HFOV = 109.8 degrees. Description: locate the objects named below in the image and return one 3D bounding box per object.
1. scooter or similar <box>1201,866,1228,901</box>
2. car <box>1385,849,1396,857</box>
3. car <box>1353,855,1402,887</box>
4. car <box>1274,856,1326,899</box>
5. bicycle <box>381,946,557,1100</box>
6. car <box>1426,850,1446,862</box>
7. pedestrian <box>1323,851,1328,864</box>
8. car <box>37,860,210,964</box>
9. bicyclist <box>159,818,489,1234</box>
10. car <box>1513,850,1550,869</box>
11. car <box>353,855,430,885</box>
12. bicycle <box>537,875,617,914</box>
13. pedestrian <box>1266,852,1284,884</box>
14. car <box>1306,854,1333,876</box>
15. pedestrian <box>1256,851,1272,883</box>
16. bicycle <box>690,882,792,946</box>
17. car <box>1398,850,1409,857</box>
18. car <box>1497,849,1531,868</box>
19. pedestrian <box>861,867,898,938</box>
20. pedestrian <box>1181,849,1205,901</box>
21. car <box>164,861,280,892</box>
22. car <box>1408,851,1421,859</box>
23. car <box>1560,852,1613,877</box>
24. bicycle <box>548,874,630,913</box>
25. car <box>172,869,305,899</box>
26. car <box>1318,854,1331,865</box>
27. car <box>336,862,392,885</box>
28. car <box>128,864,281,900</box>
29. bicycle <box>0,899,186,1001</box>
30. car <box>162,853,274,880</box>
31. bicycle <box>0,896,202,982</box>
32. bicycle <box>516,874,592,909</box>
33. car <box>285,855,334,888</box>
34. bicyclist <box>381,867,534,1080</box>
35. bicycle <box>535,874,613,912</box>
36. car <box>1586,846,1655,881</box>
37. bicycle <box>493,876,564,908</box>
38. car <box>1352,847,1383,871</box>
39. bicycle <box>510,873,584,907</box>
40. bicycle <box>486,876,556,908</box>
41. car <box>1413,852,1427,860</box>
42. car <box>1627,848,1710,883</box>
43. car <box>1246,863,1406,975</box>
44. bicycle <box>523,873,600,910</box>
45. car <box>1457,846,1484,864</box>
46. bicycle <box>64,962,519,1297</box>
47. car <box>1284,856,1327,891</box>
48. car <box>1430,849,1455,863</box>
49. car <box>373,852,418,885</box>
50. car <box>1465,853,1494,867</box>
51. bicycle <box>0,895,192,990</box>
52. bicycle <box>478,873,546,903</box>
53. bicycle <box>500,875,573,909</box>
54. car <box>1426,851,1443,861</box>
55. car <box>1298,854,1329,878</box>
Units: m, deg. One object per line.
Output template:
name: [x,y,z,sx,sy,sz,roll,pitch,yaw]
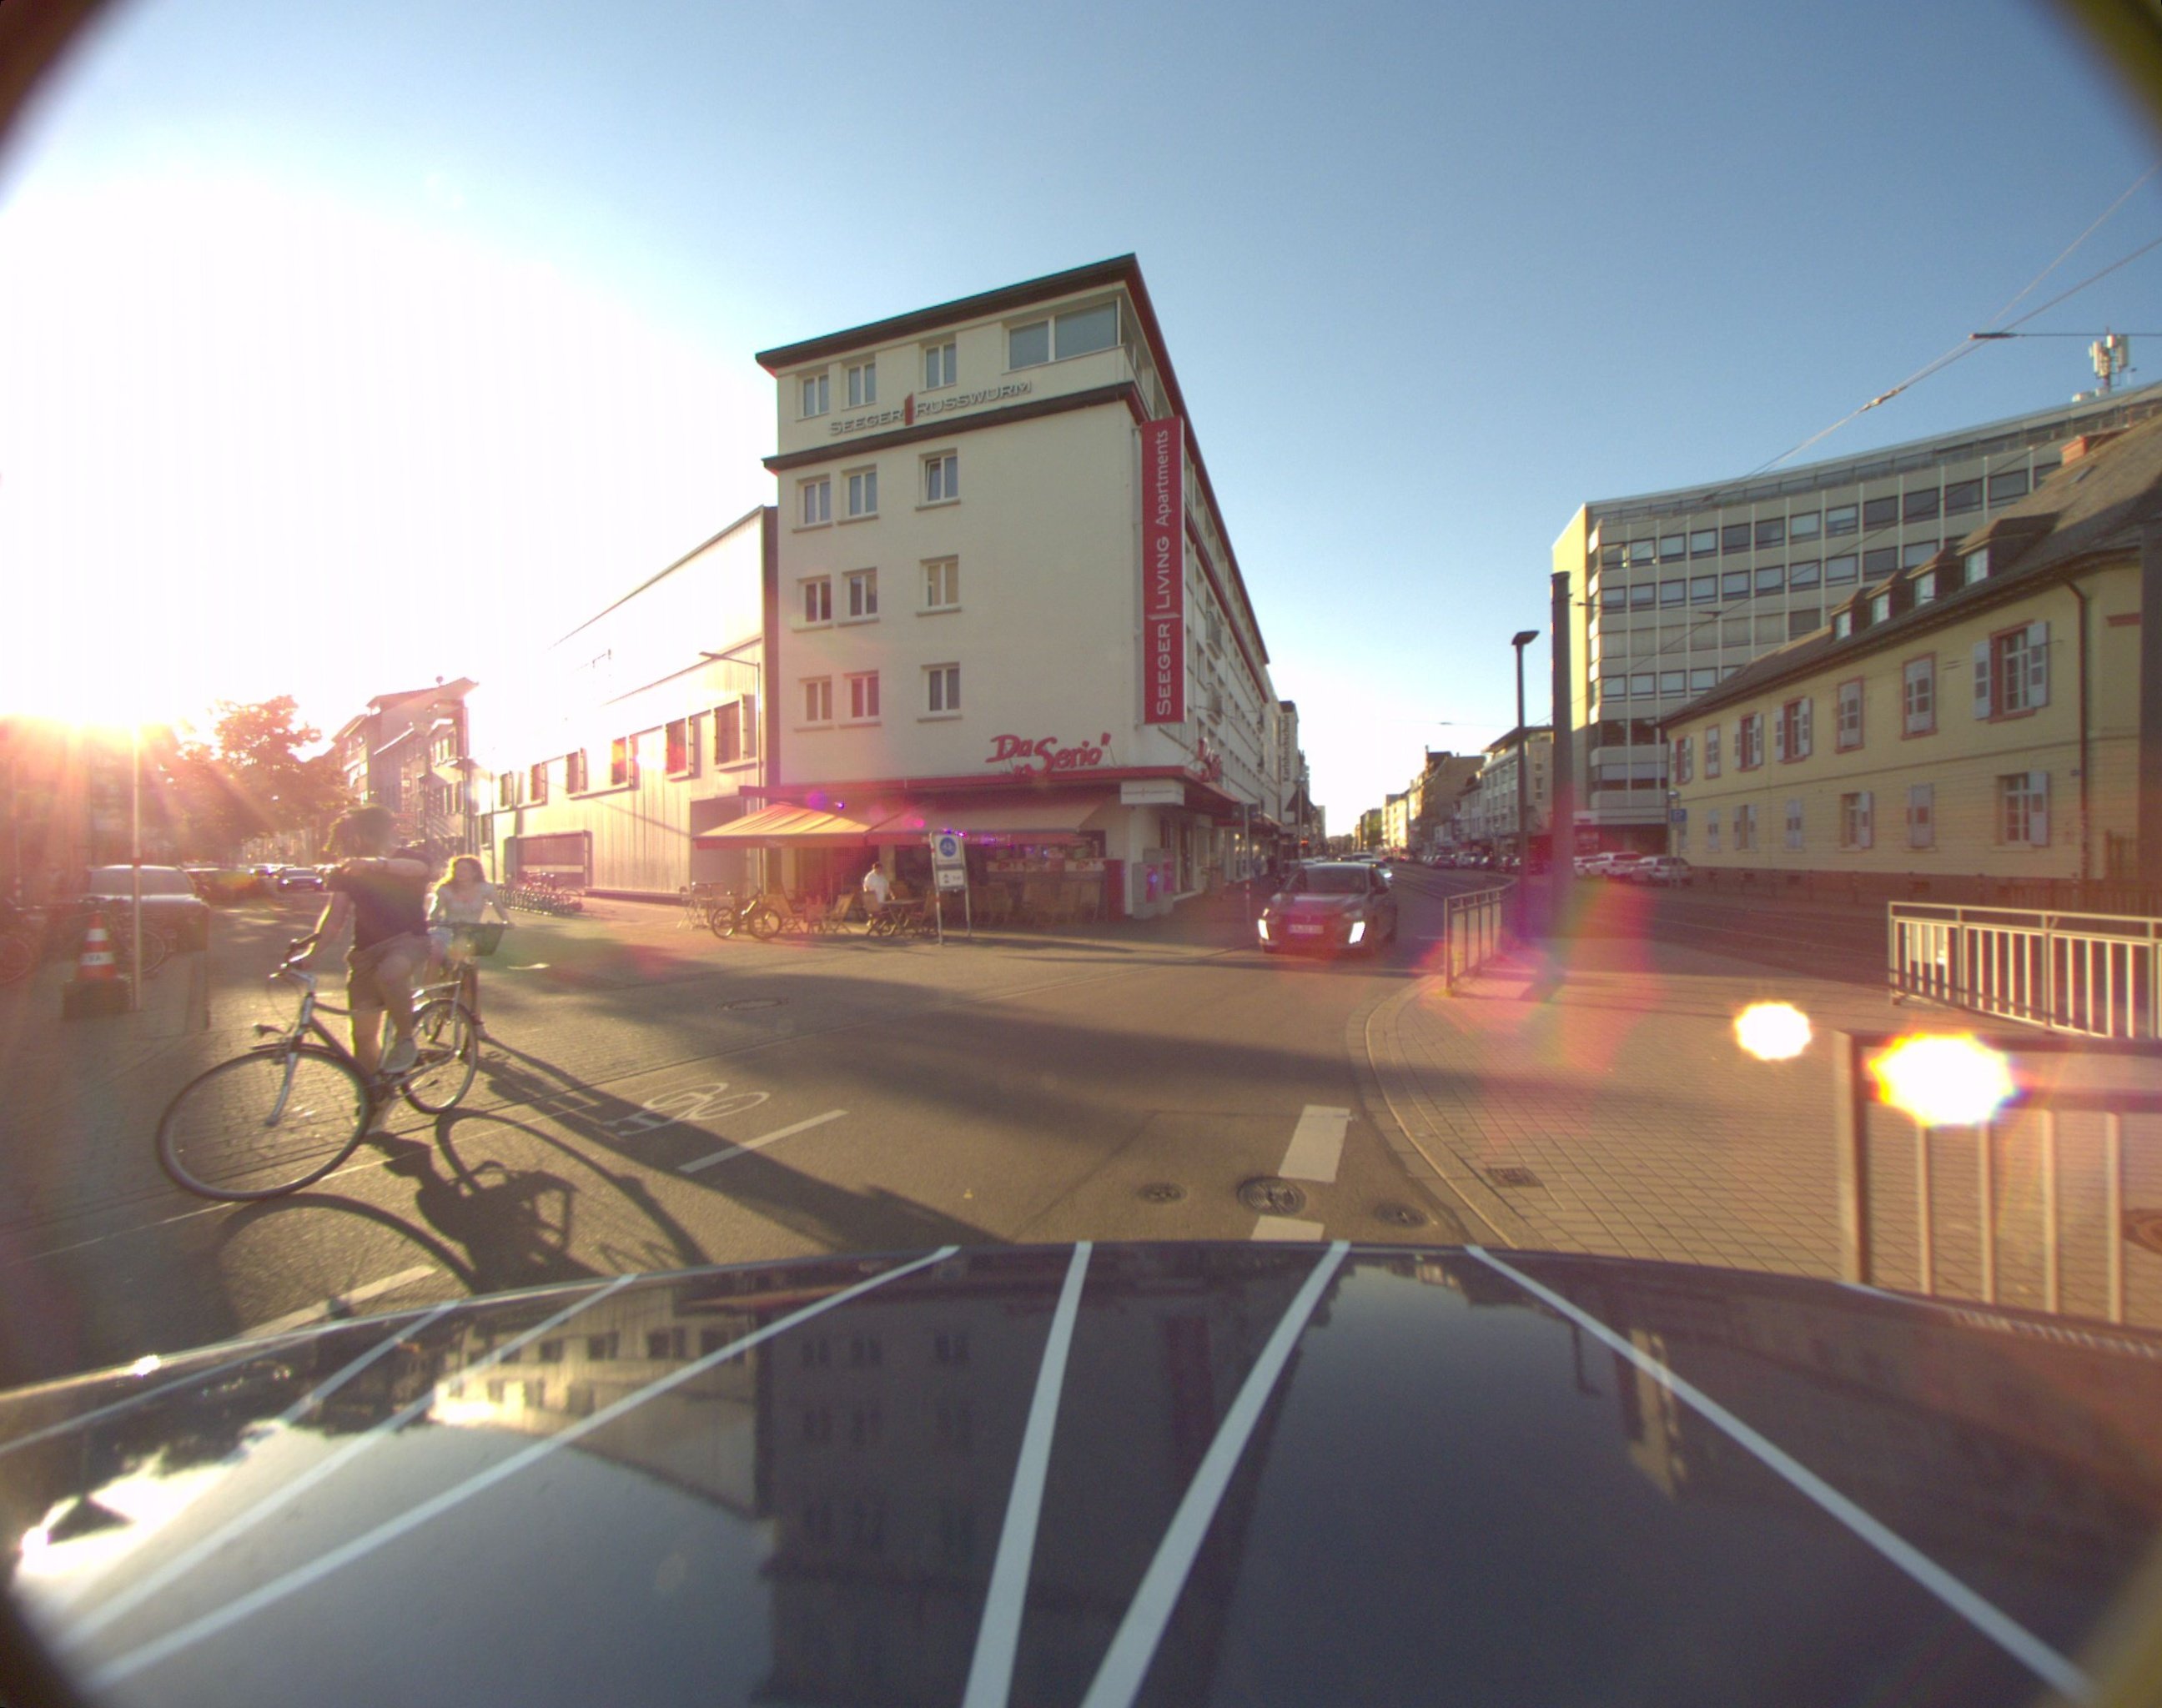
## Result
scooter or similar: [4.750,1.051,27.096,0.357,1.195,1.247,-1,0,-19]
car: [65.295,-0.234,160.268,1.996,1.543,4.006,0,0,19]
car: [14.780,0.808,38.060,1.996,1.450,4.005,0,0,17]
car: [8.787,0.863,30.218,1.737,1.503,4.692,1,1,19]
bicycle: [-5.240,1.334,6.454,2.007,0.876,0.842,0,1,42]
car: [43.974,0.227,94.175,1.808,1.503,4.041,0,0,20]
pedestrian: [32.142,0.399,100.057,0.605,1.717,0.647,0,1,18]
car: [-18.436,0.982,14.592,3.988,1.739,1.898,0,-1,36]
bicyclist: [-3.971,0.790,4.135,0.841,1.906,1.113,-1,0,-19]
car: [36.439,0.430,61.542,1.687,1.503,4.221,-1,0,19]
car: [-50.154,1.181,55.312,1.994,2.002,4.008,-2,0,44]
bicycle: [-16.750,1.317,25.301,0.702,1.213,2.118,0,-1,41]
pedestrian: [10.304,0.731,40.324,0.827,1.708,0.844,1,1,19]
car: [17.416,0.746,55.600,1.792,1.503,4.718,1,1,17]
pedestrian: [9.954,0.685,41.278,0.729,1.731,0.864,1,1,19]
bicycle: [-7.309,1.254,16.311,2.108,1.280,0.705,0,1,21]
car: [73.524,-0.178,173.220,1.996,1.543,4.005,0,0,18]
car: [37.984,0.382,66.686,1.687,1.503,4.221,5,2,19]
pedestrian: [-4.533,1.076,17.107,0.571,1.532,0.575,0,1,19]
pedestrian: [3.850,0.703,26.147,0.605,1.750,0.526,-1,1,-25]
car: [-50.242,1.282,44.554,1.996,1.700,4.005,0,0,15]
car: [67.129,0.258,152.804,1.996,1.543,4.212,0,0,18]
car: [32.011,0.608,48.210,1.814,1.503,4.439,0,0,20]
bicycle: [-16.025,1.270,24.793,0.702,1.213,2.118,0,-1,41]
car: [-42.302,1.470,38.291,1.996,1.379,4.006,0,0,19]
car: [34.653,0.723,107.943,1.679,1.534,3.891,1,1,19]
car: [-64.094,1.740,67.974,1.604,1.833,3.471,-2,0,41]
car: [-38.483,1.189,33.534,1.998,1.422,4.001,0,0,5]
bicycle: [-13.547,1.251,10.103,0.702,1.213,2.118,0,-1,41]
car: [-52.435,0.739,46.258,1.996,1.597,4.005,0,0,15]
bicycle: [-15.238,1.264,11.747,0.702,1.212,2.118,0,-3,41]
bicycle: [-19.015,1.343,27.448,0.702,1.213,2.118,0,-1,41]
car: [-48.907,1.112,48.227,2.004,2.002,3.989,-2,0,-44]
bicyclist: [-5.339,0.927,6.500,1.111,1.613,0.842,0,1,42]
bicycle: [-17.278,1.307,25.941,0.702,1.213,2.118,0,-1,41]
car: [30.039,0.483,42.459,1.815,1.775,4.503,-3,-1,18]
bicycle: [-21.425,1.454,29.511,0.702,1.213,2.118,0,-1,41]
car: [22.441,0.342,59.629,1.996,1.805,4.005,0,0,17]
bicycle: [-19.671,1.313,28.006,0.702,1.213,2.118,0,-1,41]
bicycle: [-22.040,1.466,29.935,0.702,1.213,2.118,0,-1,41]
car: [63.059,0.390,141.462,1.996,1.543,4.005,0,0,18]
car: [28.716,0.518,37.307,1.815,1.608,4.220,0,0,16]
car: [4.360,0.955,13.025,1.729,1.513,4.342,-1,0,30]
bicycle: [-18.199,1.292,26.677,0.702,1.213,2.118,0,-1,41]
car: [45.609,0.117,89.025,1.957,1.965,5.169,0,0,17]
bicycle: [-3.951,1.252,4.127,0.841,1.014,2.074,0,0,-19]
car: [10.717,0.892,36.100,1.787,1.503,4.057,1,1,19]
car: [39.426,0.175,82.964,1.737,1.503,4.039,0,0,14]
car: [-44.976,0.979,49.831,2.004,2.002,4.246,-2,0,-44]
car: [42.972,0.615,81.998,1.996,1.457,4.564,-1,0,17]
bicycle: [-14.355,1.227,10.870,0.702,1.213,2.118,0,-1,41]
bicycle: [-23.550,1.385,31.487,0.702,1.213,2.118,0,-1,34]
bicycle: [-20.415,1.421,28.546,0.702,1.213,2.118,0,-1,41]
car: [56.632,0.318,121.809,1.996,1.535,4.885,-1,0,19]
car: [15.219,0.746,49.623,1.737,1.503,4.309,1,1,19]
